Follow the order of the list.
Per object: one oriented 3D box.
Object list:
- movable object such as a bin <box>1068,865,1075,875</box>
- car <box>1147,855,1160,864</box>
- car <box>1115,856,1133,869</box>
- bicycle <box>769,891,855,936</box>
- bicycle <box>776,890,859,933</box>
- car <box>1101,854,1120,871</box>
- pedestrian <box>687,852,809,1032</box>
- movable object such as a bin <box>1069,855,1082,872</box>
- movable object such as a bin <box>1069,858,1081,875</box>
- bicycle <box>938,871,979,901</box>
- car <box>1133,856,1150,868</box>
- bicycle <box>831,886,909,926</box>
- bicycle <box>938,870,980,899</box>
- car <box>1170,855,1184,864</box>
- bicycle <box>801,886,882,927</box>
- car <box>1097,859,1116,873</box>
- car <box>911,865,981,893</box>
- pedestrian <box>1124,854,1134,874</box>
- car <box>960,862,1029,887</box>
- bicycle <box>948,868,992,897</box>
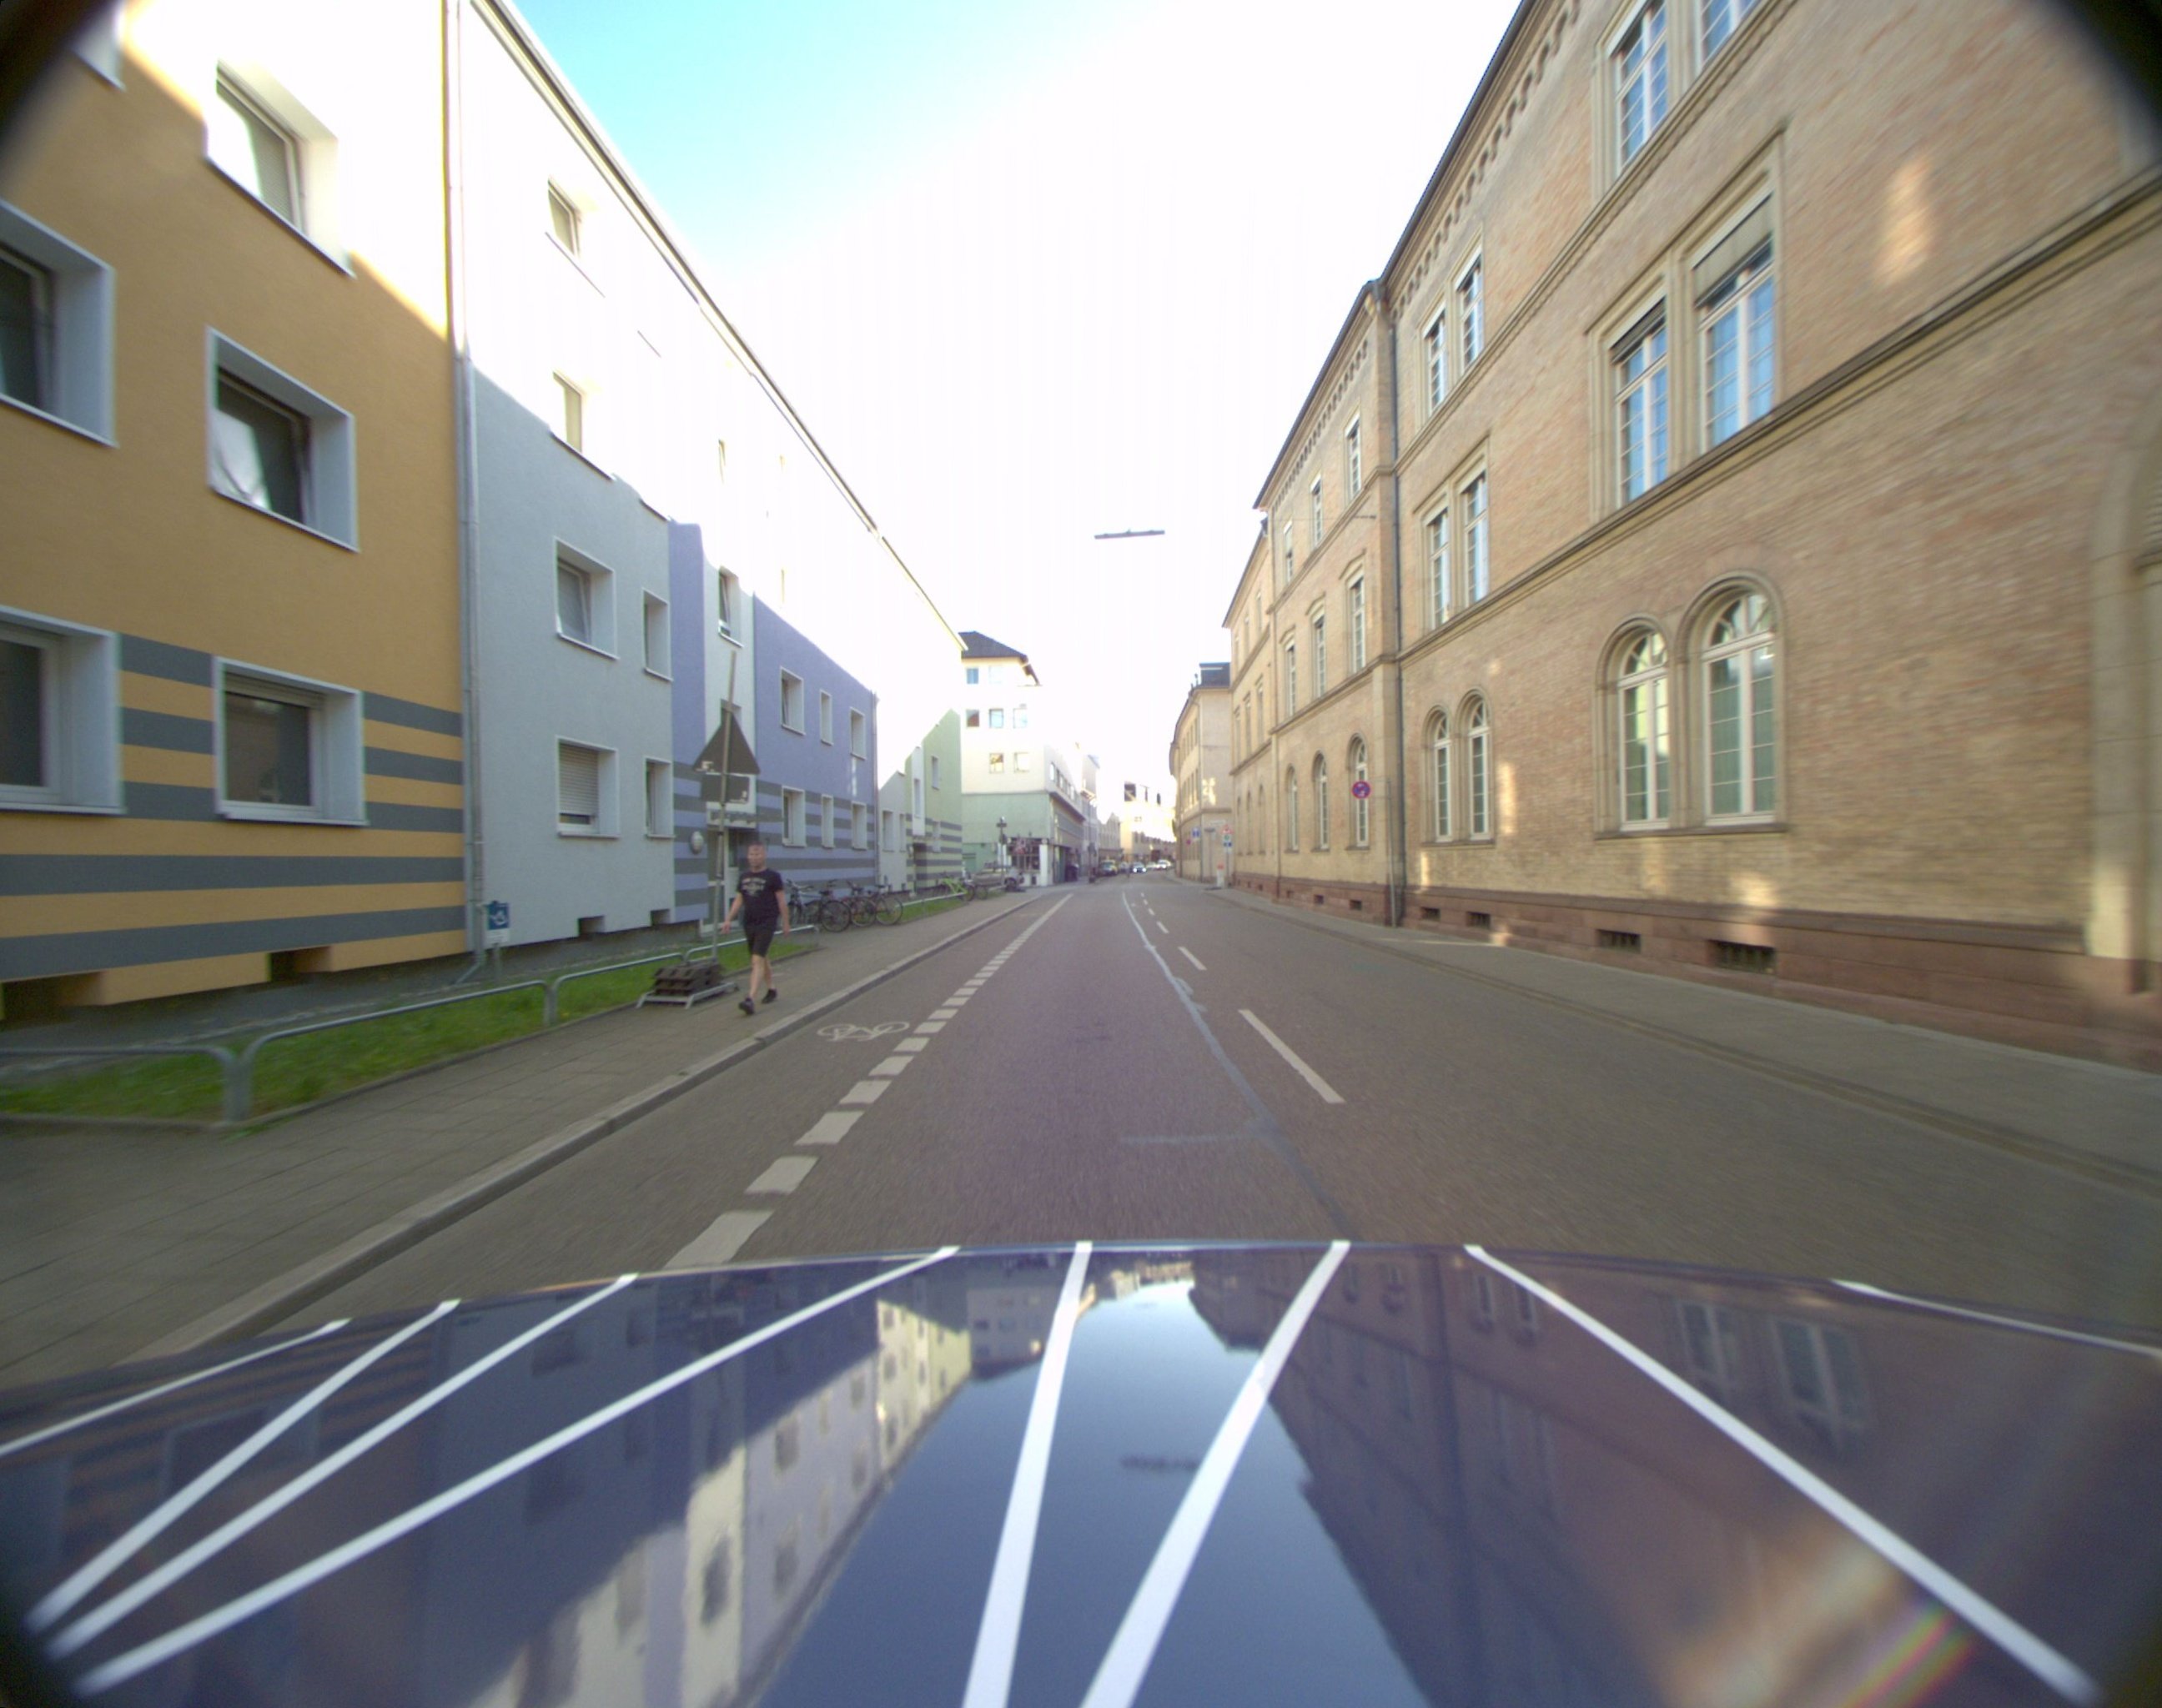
[{"bbox_3d":[-0.821,1.394,65.760,0.558,0.894,0.523,0,3,4],"label":"movable object such as a bin"},{"bbox_3d":[13.245,0.946,138.293,1.733,1.539,4.004,-2,0,14],"label":"car"},{"bbox_3d":[6.129,1.191,108.373,1.828,1.645,4.497,-2,0,11],"label":"car"},{"bbox_3d":[-5.863,1.292,16.584,1.752,0.941,0.335,0,1,2],"label":"bicycle"},{"bbox_3d":[-5.883,1.274,16.966,1.752,0.941,0.326,0,1,3],"label":"bicycle"},{"bbox_3d":[3.644,1.029,92.259,1.887,1.871,4.848,-2,0,7],"label":"car"},{"bbox_3d":[-3.487,0.865,8.058,0.698,1.750,1.189,1,0,2],"label":"pedestrian"},{"bbox_3d":[-0.488,0.852,68.303,0.983,1.472,1.551,0,3,4],"label":"movable object such as a bin"},{"bbox_3d":[-0.500,1.096,66.673,0.983,1.377,1.320,0,3,4],"label":"movable object such as a bin"},{"bbox_3d":[-4.995,1.306,30.976,1.607,1.135,0.237,2,0,-6],"label":"bicycle"},{"bbox_3d":[9.004,1.160,112.839,1.828,1.550,3.990,-3,0,12],"label":"car"},{"bbox_3d":[-5.194,1.286,18.741,1.752,0.941,0.552,0,1,2],"label":"bicycle"},{"bbox_3d":[-5.015,1.259,31.265,1.646,1.135,0.283,2,0,-6],"label":"bicycle"},{"bbox_3d":[20.144,1.177,159.339,1.773,1.574,3.862,-6,-1,20],"label":"car"},{"bbox_3d":[-5.693,1.245,18.128,1.752,0.941,0.552,0,1,2],"label":"bicycle"},{"bbox_3d":[2.964,1.351,86.723,1.887,1.480,4.370,-2,0,5],"label":"car"},{"bbox_3d":[-7.587,1.401,42.788,3.553,1.473,1.709,0,1,3],"label":"car"},{"bbox_3d":[4.119,0.872,65.545,0.694,1.660,0.875,-3,1,6],"label":"pedestrian"},{"bbox_3d":[-5.505,1.278,48.542,4.088,1.473,1.865,-1,0,2],"label":"car"},{"bbox_3d":[-4.756,1.223,32.668,1.752,1.135,0.552,2,0,2],"label":"bicycle"}]
